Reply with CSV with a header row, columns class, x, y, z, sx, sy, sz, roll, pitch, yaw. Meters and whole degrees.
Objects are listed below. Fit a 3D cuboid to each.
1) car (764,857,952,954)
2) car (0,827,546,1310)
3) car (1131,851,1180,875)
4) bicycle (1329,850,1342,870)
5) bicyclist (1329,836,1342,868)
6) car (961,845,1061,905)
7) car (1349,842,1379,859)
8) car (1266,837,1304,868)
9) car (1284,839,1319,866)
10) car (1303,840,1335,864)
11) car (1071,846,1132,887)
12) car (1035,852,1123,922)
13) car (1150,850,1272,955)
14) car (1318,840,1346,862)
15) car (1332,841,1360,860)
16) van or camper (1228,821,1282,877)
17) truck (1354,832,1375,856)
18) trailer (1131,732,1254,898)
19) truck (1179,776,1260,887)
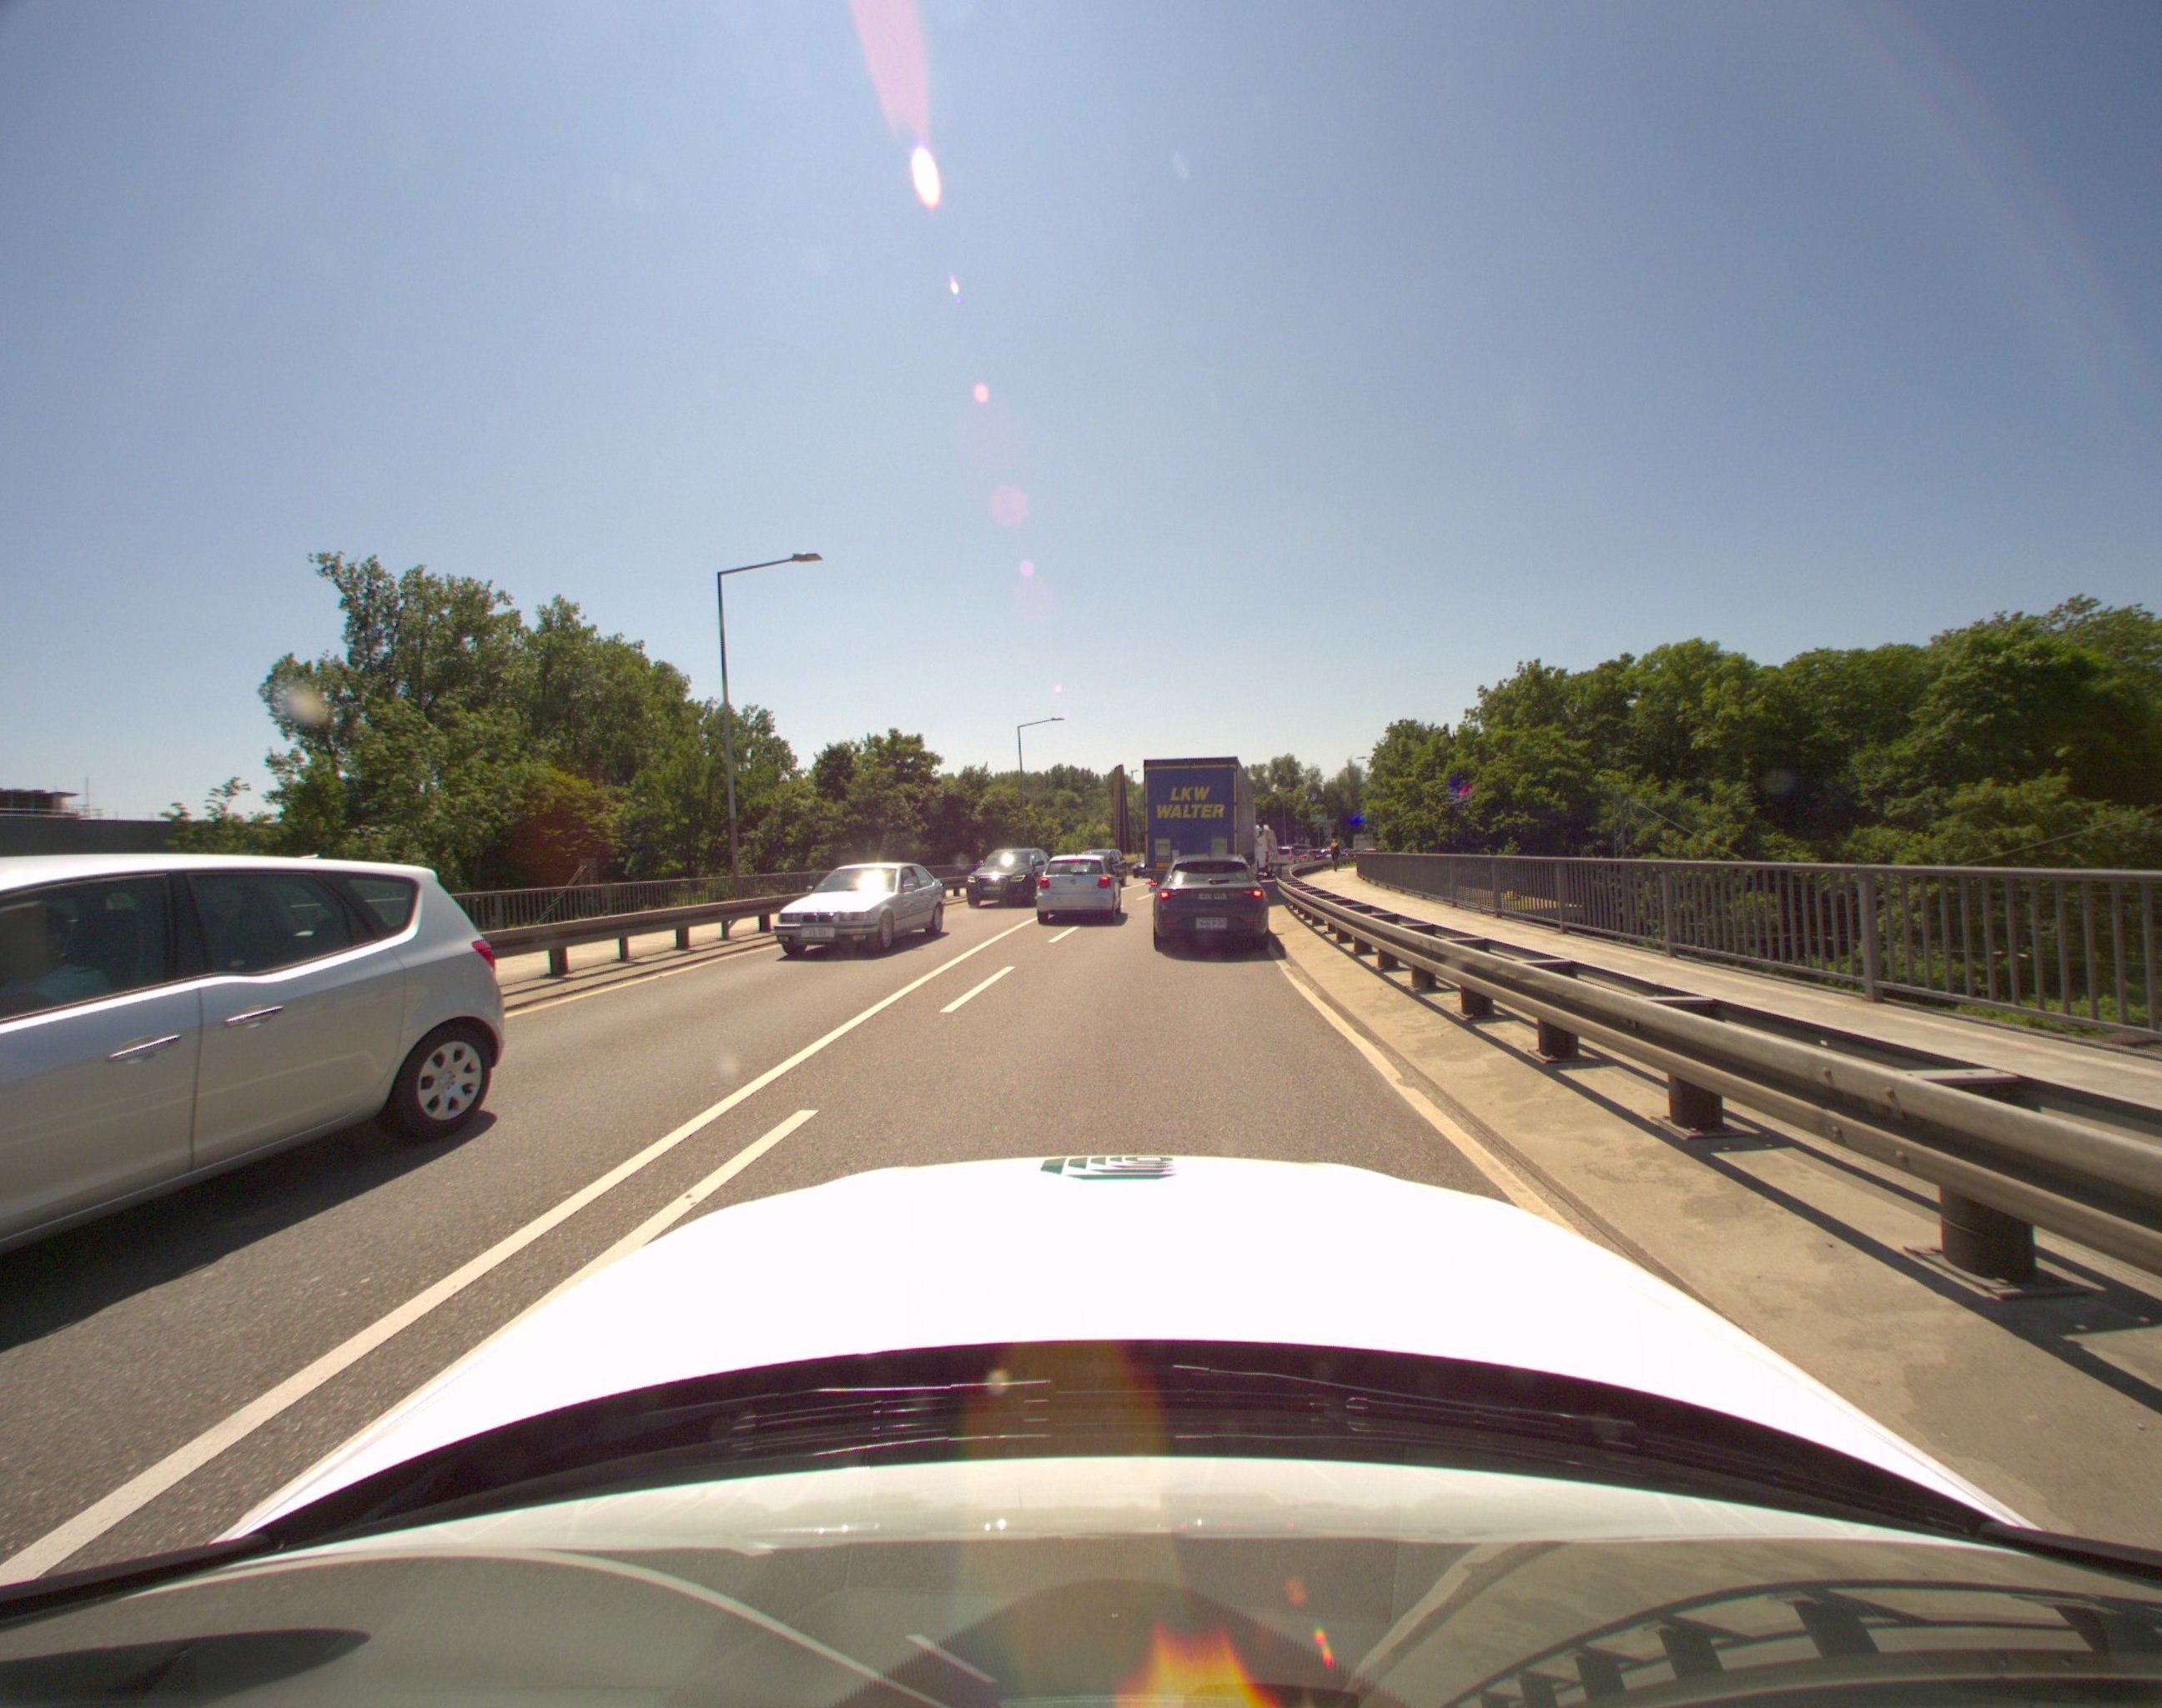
class,x,y,z,sx,sy,sz,roll,pitch,yaw
car,-3.613,0.778,13.980,1.688,1.376,4.008,-1,0,7
car,-4.395,0.721,3.127,1.729,1.580,4.180,-1,0,3
car,4.341,0.482,47.029,1.663,1.308,3.995,-1,0,23
bicycle,14.049,0.329,44.947,0.577,1.035,1.491,-4,-1,17
bicyclist,14.005,-0.119,44.873,0.573,1.683,0.732,-4,-1,16
car,-1.983,0.570,24.417,1.789,1.641,4.314,-1,0,12
car,28.929,-0.368,83.256,1.974,1.575,4.025,1,-1,33
car,12.894,-0.118,51.372,1.705,1.843,4.022,-1,1,23
car,15.576,-0.116,57.434,1.705,1.802,4.023,-1,0,25
car,18.977,-0.212,64.866,1.705,1.844,4.024,-1,0,26
car,0.949,0.502,35.289,1.694,1.626,4.270,-1,0,15
car,0.048,0.671,18.696,1.669,1.411,3.980,0,1,5
car,2.062,0.673,13.395,1.668,1.456,3.966,-1,0,7
car,21.933,-0.314,70.943,1.705,1.844,4.024,-1,0,26
car,25.139,-0.307,77.195,1.669,1.760,4.025,-1,-1,30
van or camper,9.477,-0.261,43.980,2.137,2.815,6.417,-1,0,18
truck,34.691,-1.232,99.553,2.315,2.873,5.970,-1,0,19
trailer,4.261,-1.087,27.962,2.884,4.418,12.479,0,0,14
truck,6.190,-0.911,35.690,2.883,4.418,6.582,0,0,15
